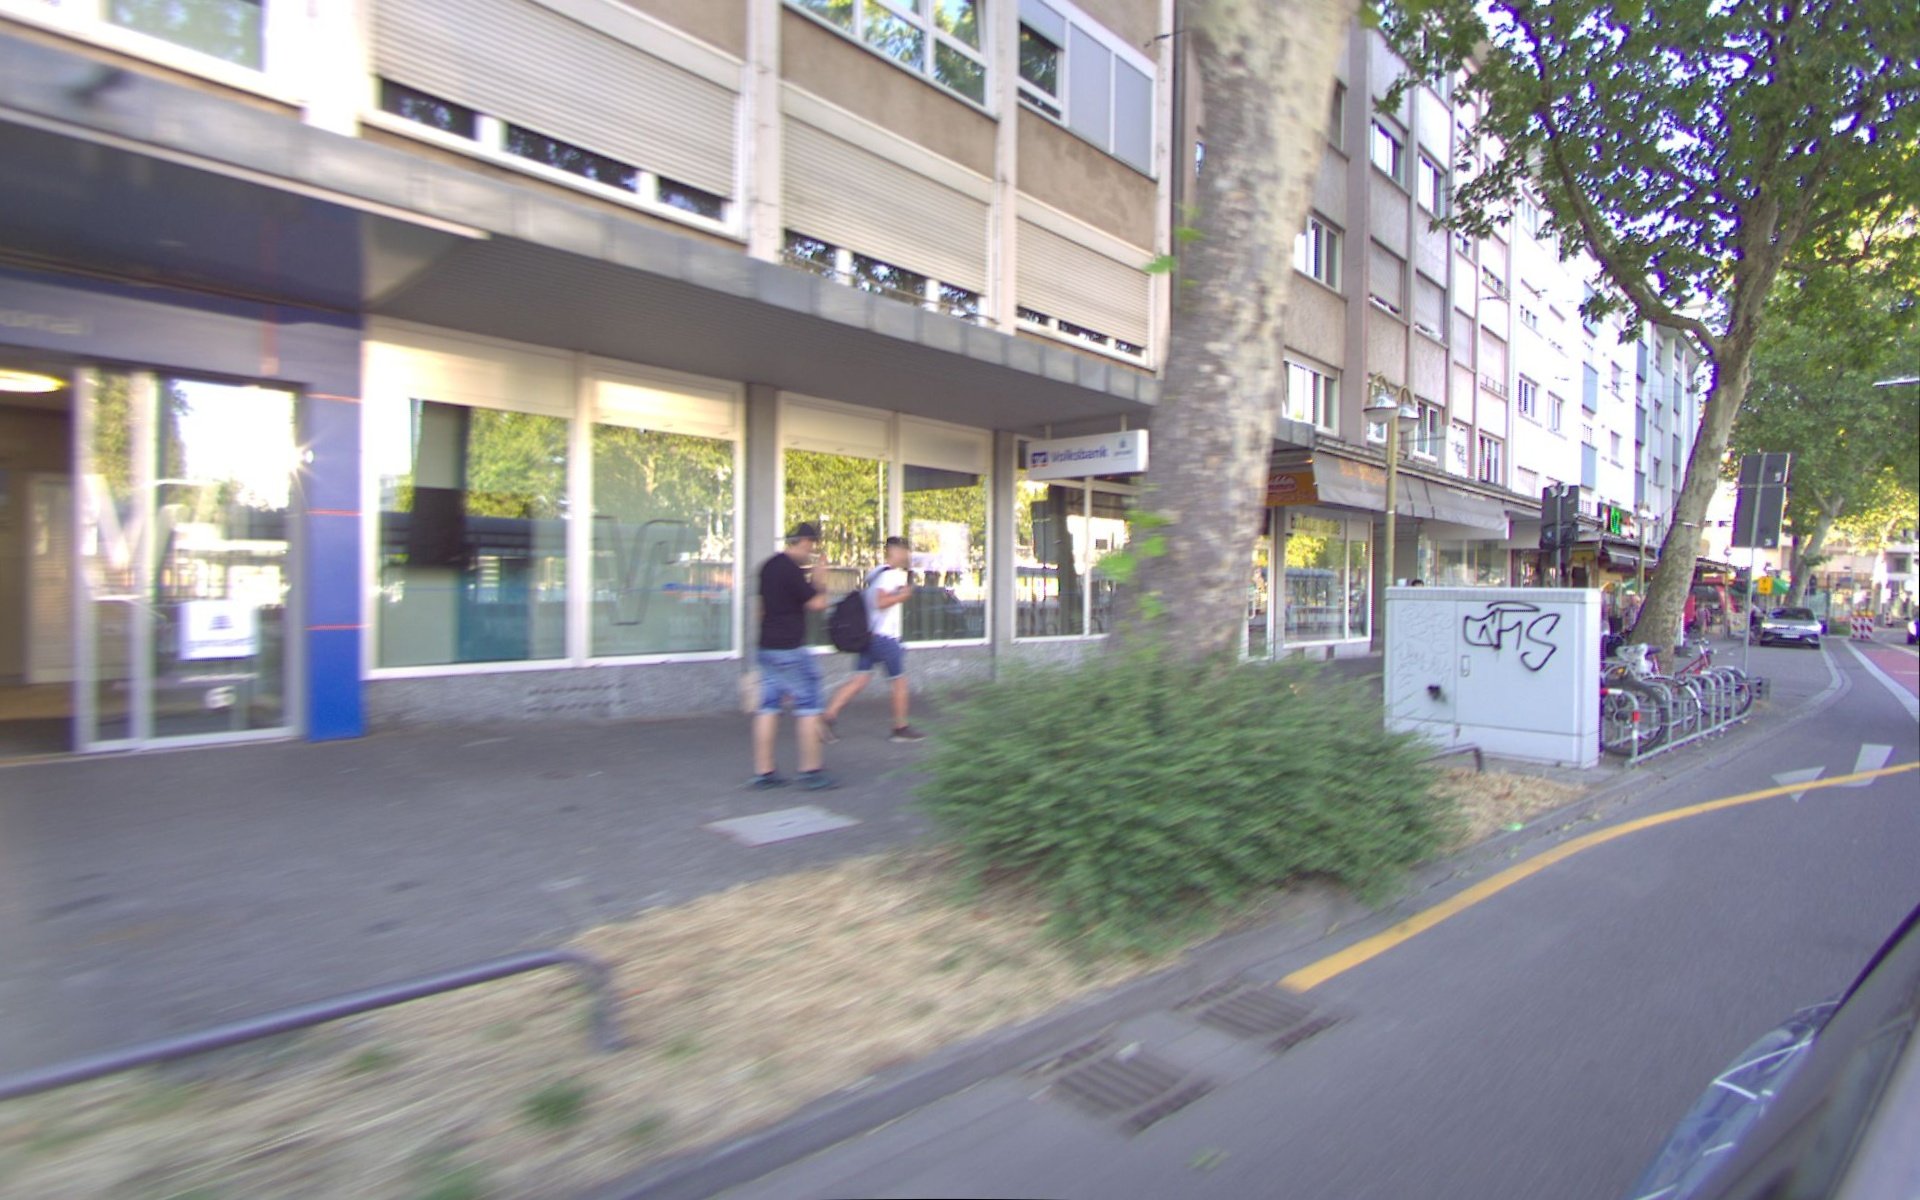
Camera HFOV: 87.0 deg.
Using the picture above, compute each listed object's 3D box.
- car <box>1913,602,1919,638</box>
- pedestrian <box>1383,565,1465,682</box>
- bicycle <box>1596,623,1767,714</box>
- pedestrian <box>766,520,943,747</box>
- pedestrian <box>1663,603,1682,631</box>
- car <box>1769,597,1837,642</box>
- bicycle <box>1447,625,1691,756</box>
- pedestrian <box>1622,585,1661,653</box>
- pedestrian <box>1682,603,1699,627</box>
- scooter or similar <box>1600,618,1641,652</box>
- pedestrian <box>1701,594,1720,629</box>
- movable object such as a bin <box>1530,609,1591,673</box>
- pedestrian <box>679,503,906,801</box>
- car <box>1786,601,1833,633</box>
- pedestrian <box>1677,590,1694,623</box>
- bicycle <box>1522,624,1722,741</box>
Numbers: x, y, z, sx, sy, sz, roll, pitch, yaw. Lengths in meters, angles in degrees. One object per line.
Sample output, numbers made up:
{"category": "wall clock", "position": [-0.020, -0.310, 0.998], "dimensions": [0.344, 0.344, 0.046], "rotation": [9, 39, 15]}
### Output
{"category": "car", "position": [44.421, 0.915, 45.714], "dimensions": [1.993, 1.605, 4.545], "rotation": [-1, -2, 43]}
{"category": "pedestrian", "position": [7.083, 0.334, 15.442], "dimensions": [0.843, 1.694, 0.975], "rotation": [3, 2, 42]}
{"category": "bicycle", "position": [9.594, 0.881, 13.500], "dimensions": [1.787, 1.035, 0.634], "rotation": [3, 1, 41]}
{"category": "pedestrian", "position": [-0.874, 0.236, 8.427], "dimensions": [0.899, 1.717, 1.054], "rotation": [6, 3, 42]}
{"category": "pedestrian", "position": [33.500, 0.801, 47.595], "dimensions": [0.644, 1.282, 0.597], "rotation": [2, 1, 42]}
{"category": "car", "position": [33.116, 0.732, 39.810], "dimensions": [1.915, 1.617, 4.722], "rotation": [2, 1, 39]}
{"category": "bicycle", "position": [6.078, 0.848, 10.171], "dimensions": [1.985, 1.071, 0.759], "rotation": [3, 2, 41]}
{"category": "pedestrian", "position": [17.182, 0.479, 25.525], "dimensions": [0.636, 1.694, 0.554], "rotation": [0, 0, 7]}
{"category": "pedestrian", "position": [35.281, 0.729, 48.881], "dimensions": [0.513, 1.148, 0.505], "rotation": [1, 1, 21]}
{"category": "scooter or similar", "position": [17.089, 0.904, 26.195], "dimensions": [0.566, 0.854, 0.734], "rotation": [1, 0, -3]}
{"category": "pedestrian", "position": [35.050, 0.542, 47.274], "dimensions": [0.583, 1.580, 0.632], "rotation": [3, 2, 44]}
{"category": "movable object such as a bin", "position": [11.054, 0.730, 18.615], "dimensions": [0.674, 1.088, 1.209], "rotation": [4, 3, 43]}
{"category": "pedestrian", "position": [-1.089, 0.282, 6.605], "dimensions": [0.899, 1.731, 1.054], "rotation": [6, 4, 42]}
{"category": "car", "position": [42.496, 0.818, 50.593], "dimensions": [1.655, 1.498, 3.743], "rotation": [2, 1, 42]}
{"category": "pedestrian", "position": [39.505, 0.348, 55.104], "dimensions": [0.706, 1.731, 0.669], "rotation": [0, 0, 37]}
{"category": "bicycle", "position": [7.188, 0.853, 11.047], "dimensions": [1.714, 1.071, 0.633], "rotation": [3, 2, 45]}
